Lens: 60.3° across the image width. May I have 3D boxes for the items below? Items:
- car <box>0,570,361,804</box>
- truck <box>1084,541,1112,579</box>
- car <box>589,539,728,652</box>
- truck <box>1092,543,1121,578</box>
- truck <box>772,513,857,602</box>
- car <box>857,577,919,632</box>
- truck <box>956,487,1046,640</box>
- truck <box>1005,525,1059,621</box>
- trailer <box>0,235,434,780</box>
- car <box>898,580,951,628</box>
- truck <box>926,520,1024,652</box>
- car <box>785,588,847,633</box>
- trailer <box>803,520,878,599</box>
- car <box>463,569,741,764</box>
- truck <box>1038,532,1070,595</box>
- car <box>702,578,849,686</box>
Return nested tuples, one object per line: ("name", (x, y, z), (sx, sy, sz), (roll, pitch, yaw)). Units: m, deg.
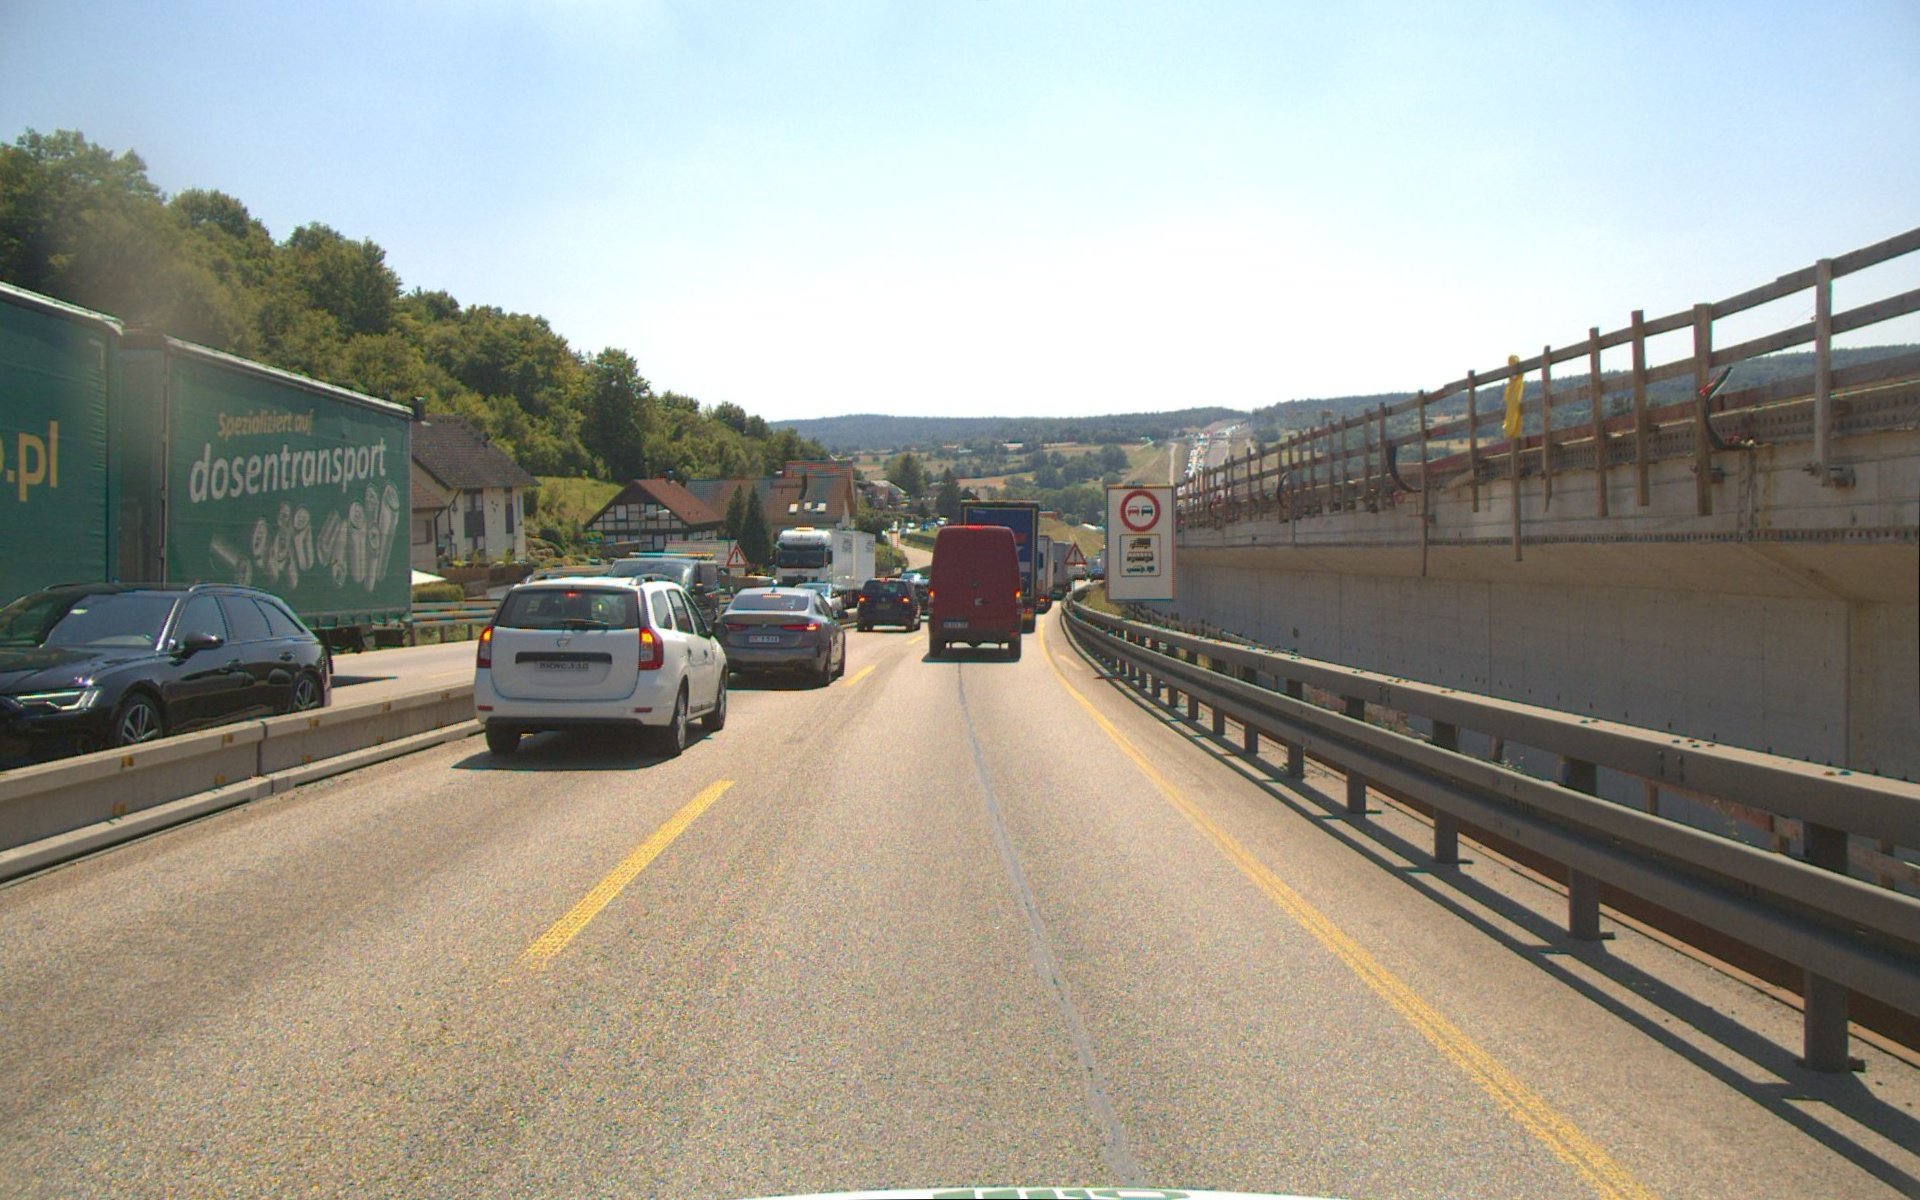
("car", (-6.441, 0.570, 12.895), (1.863, 1.488, 4.756), (0, 0, -1))
("truck", (17.448, -4.994, 208.588), (3.003, 4.458, 8.564), (0, -1, 9))
("car", (-6.263, -0.071, 34.916), (1.952, 2.211, 4.833), (0, 0, 1))
("truck", (20.333, -5.408, 228.776), (3.393, 4.458, 8.564), (0, -1, 9))
("truck", (-7.252, -2.105, 84.030), (2.916, 4.234, 10.549), (0, 1, 2))
("car", (-2.229, 0.151, 52.146), (1.773, 1.636, 3.719), (0, 0, 0))
("truck", (1.558, -1.127, 57.789), (2.727, 4.900, 9.689), (0, 0, 4))
("truck", (3.957, -1.342, 89.436), (2.728, 4.900, 9.688), (0, 0, 3))
("trailer", (-9.678, -0.778, 18.491), (2.775, 4.723, 14.581), (0, 0, 0))
("car", (-1.372, 0.173, 65.813), (1.693, 1.870, 4.002), (0, 0, 5))
("truck", (0.358, -0.272, 35.010), (1.952, 2.624, 4.001), (0, -1, 2))
("car", (-5.106, 0.350, 58.992), (1.548, 1.548, 4.156), (0, 0, 4))
("trailer", (-6.682, -2.241, 93.832), (2.940, 4.238, 9.022), (0, 1, 4))
("car", (-3.160, 0.537, 15.429), (1.618, 1.509, 4.266), (-2, 0, 0))
("truck", (6.844, -2.614, 120.463), (1.951, 4.458, 4.003), (0, -1, 9))
("car", (-2.749, 0.441, 25.430), (1.758, 1.511, 4.050), (0, 0, 0))
